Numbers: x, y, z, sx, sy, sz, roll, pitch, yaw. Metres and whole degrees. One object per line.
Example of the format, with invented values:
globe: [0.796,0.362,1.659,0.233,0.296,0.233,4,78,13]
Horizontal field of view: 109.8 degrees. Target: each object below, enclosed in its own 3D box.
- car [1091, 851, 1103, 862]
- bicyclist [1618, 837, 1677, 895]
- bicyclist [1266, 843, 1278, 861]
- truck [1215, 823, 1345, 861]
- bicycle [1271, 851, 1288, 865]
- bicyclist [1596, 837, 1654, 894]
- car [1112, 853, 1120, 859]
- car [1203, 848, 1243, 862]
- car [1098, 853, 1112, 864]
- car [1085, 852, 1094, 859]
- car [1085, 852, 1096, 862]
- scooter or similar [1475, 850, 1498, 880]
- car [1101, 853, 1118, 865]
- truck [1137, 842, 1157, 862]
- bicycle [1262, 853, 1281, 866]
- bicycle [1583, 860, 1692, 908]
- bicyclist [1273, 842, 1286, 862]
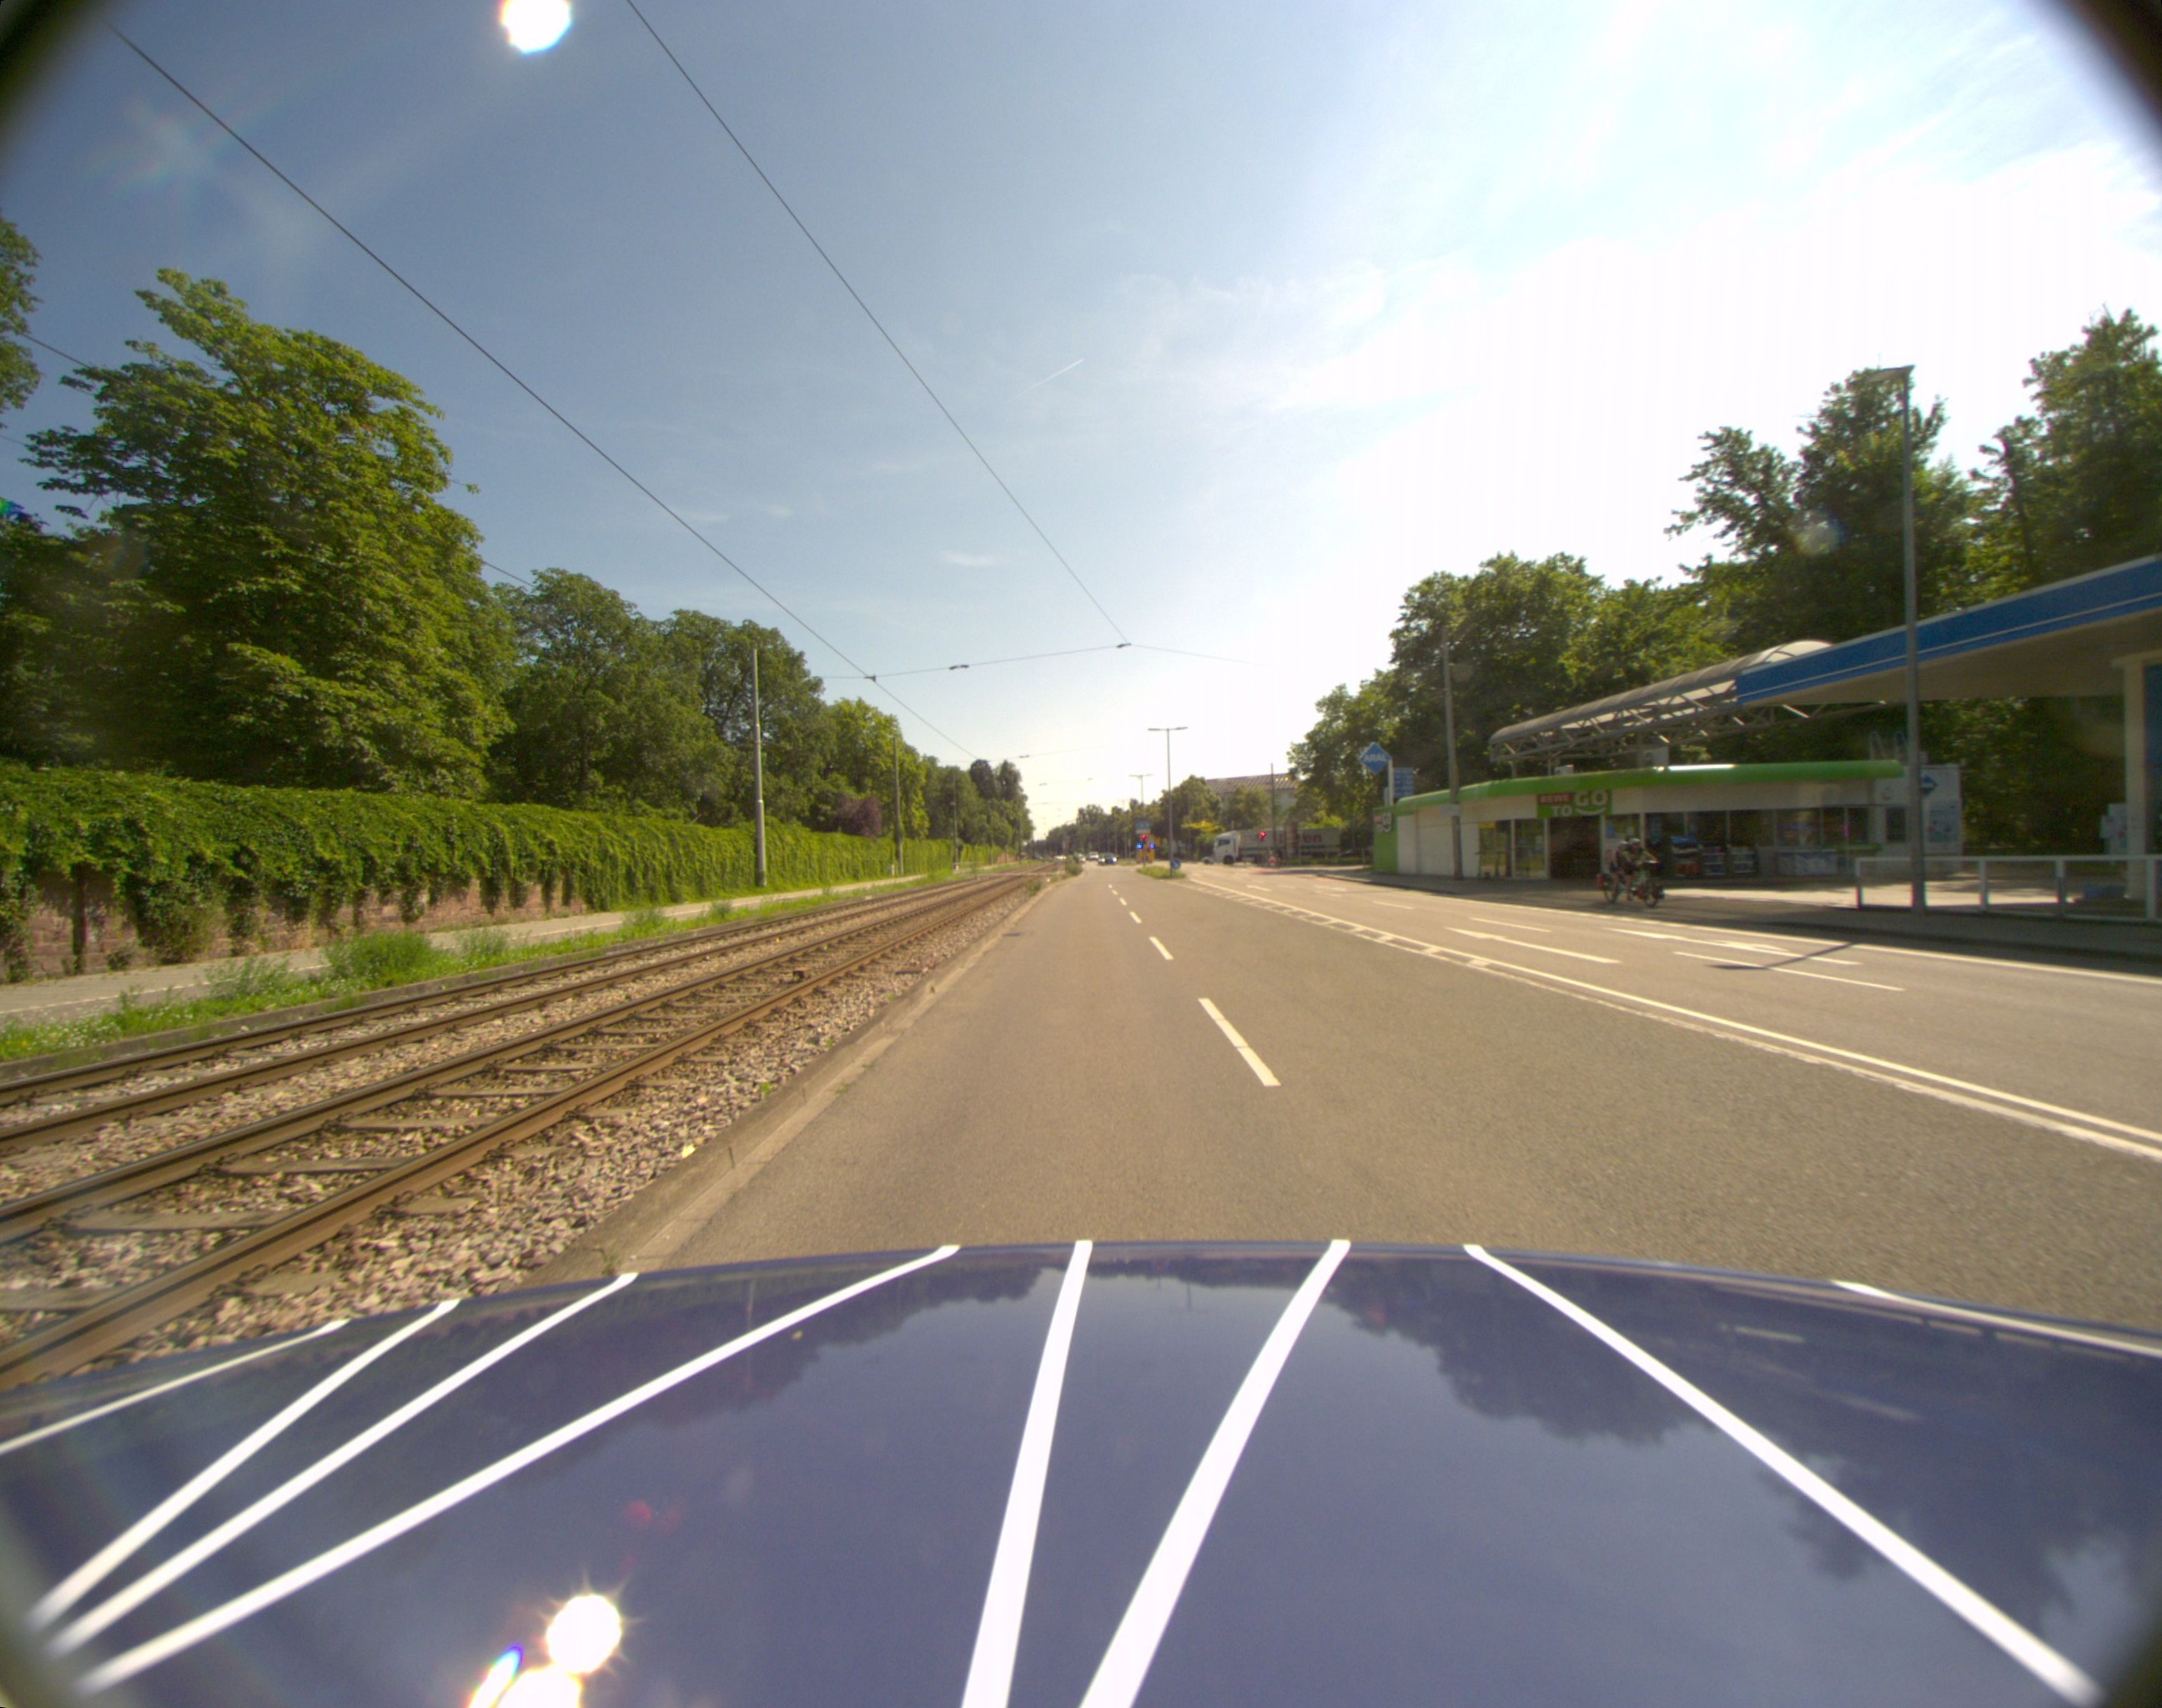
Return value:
car: [3.514,0.464,168.133,2.265,2.336,5.229,-2,0,-2]
bicyclist: [14.372,0.310,19.304,0.849,1.427,0.833,-2,-1,3]
bicyclist: [15.942,-0.169,63.551,0.710,1.412,0.739,-2,-1,-8]
truck: [22.781,-1.317,87.686,14.285,3.984,2.856,-1,1,6]
bicycle: [17.072,0.366,65.505,0.939,1.168,2.211,-2,0,2]
bicyclist: [14.413,0.315,20.146,0.849,1.427,0.833,-4,-1,2]
car: [9.376,0.477,201.991,1.755,1.573,4.504,0,0,-2]
car: [17.361,0.125,92.937,4.386,1.501,1.760,-3,-1,35]
car: [3.517,0.660,110.968,1.755,1.573,4.505,-2,0,-1]
car: [2.006,0.346,190.253,1.931,1.593,4.467,-2,0,-3]
car: [1.704,0.568,136.351,1.931,1.593,4.468,-2,0,-1]
scooter or similar: [16.840,0.451,31.571,0.442,1.230,1.346,-1,0,10]
car: [3.797,0.679,102.213,1.755,1.573,4.503,-2,0,-4]
truck: [9.462,-0.280,109.837,2.336,2.652,7.360,-1,0,1]
bicycle: [15.977,0.463,63.739,0.753,1.051,2.074,-2,0,-8]
bicycle: [14.343,0.732,19.712,0.827,1.088,2.773,-5,-1,3]
bicyclist: [17.042,-0.165,65.348,0.837,1.664,0.827,-2,-1,0]
